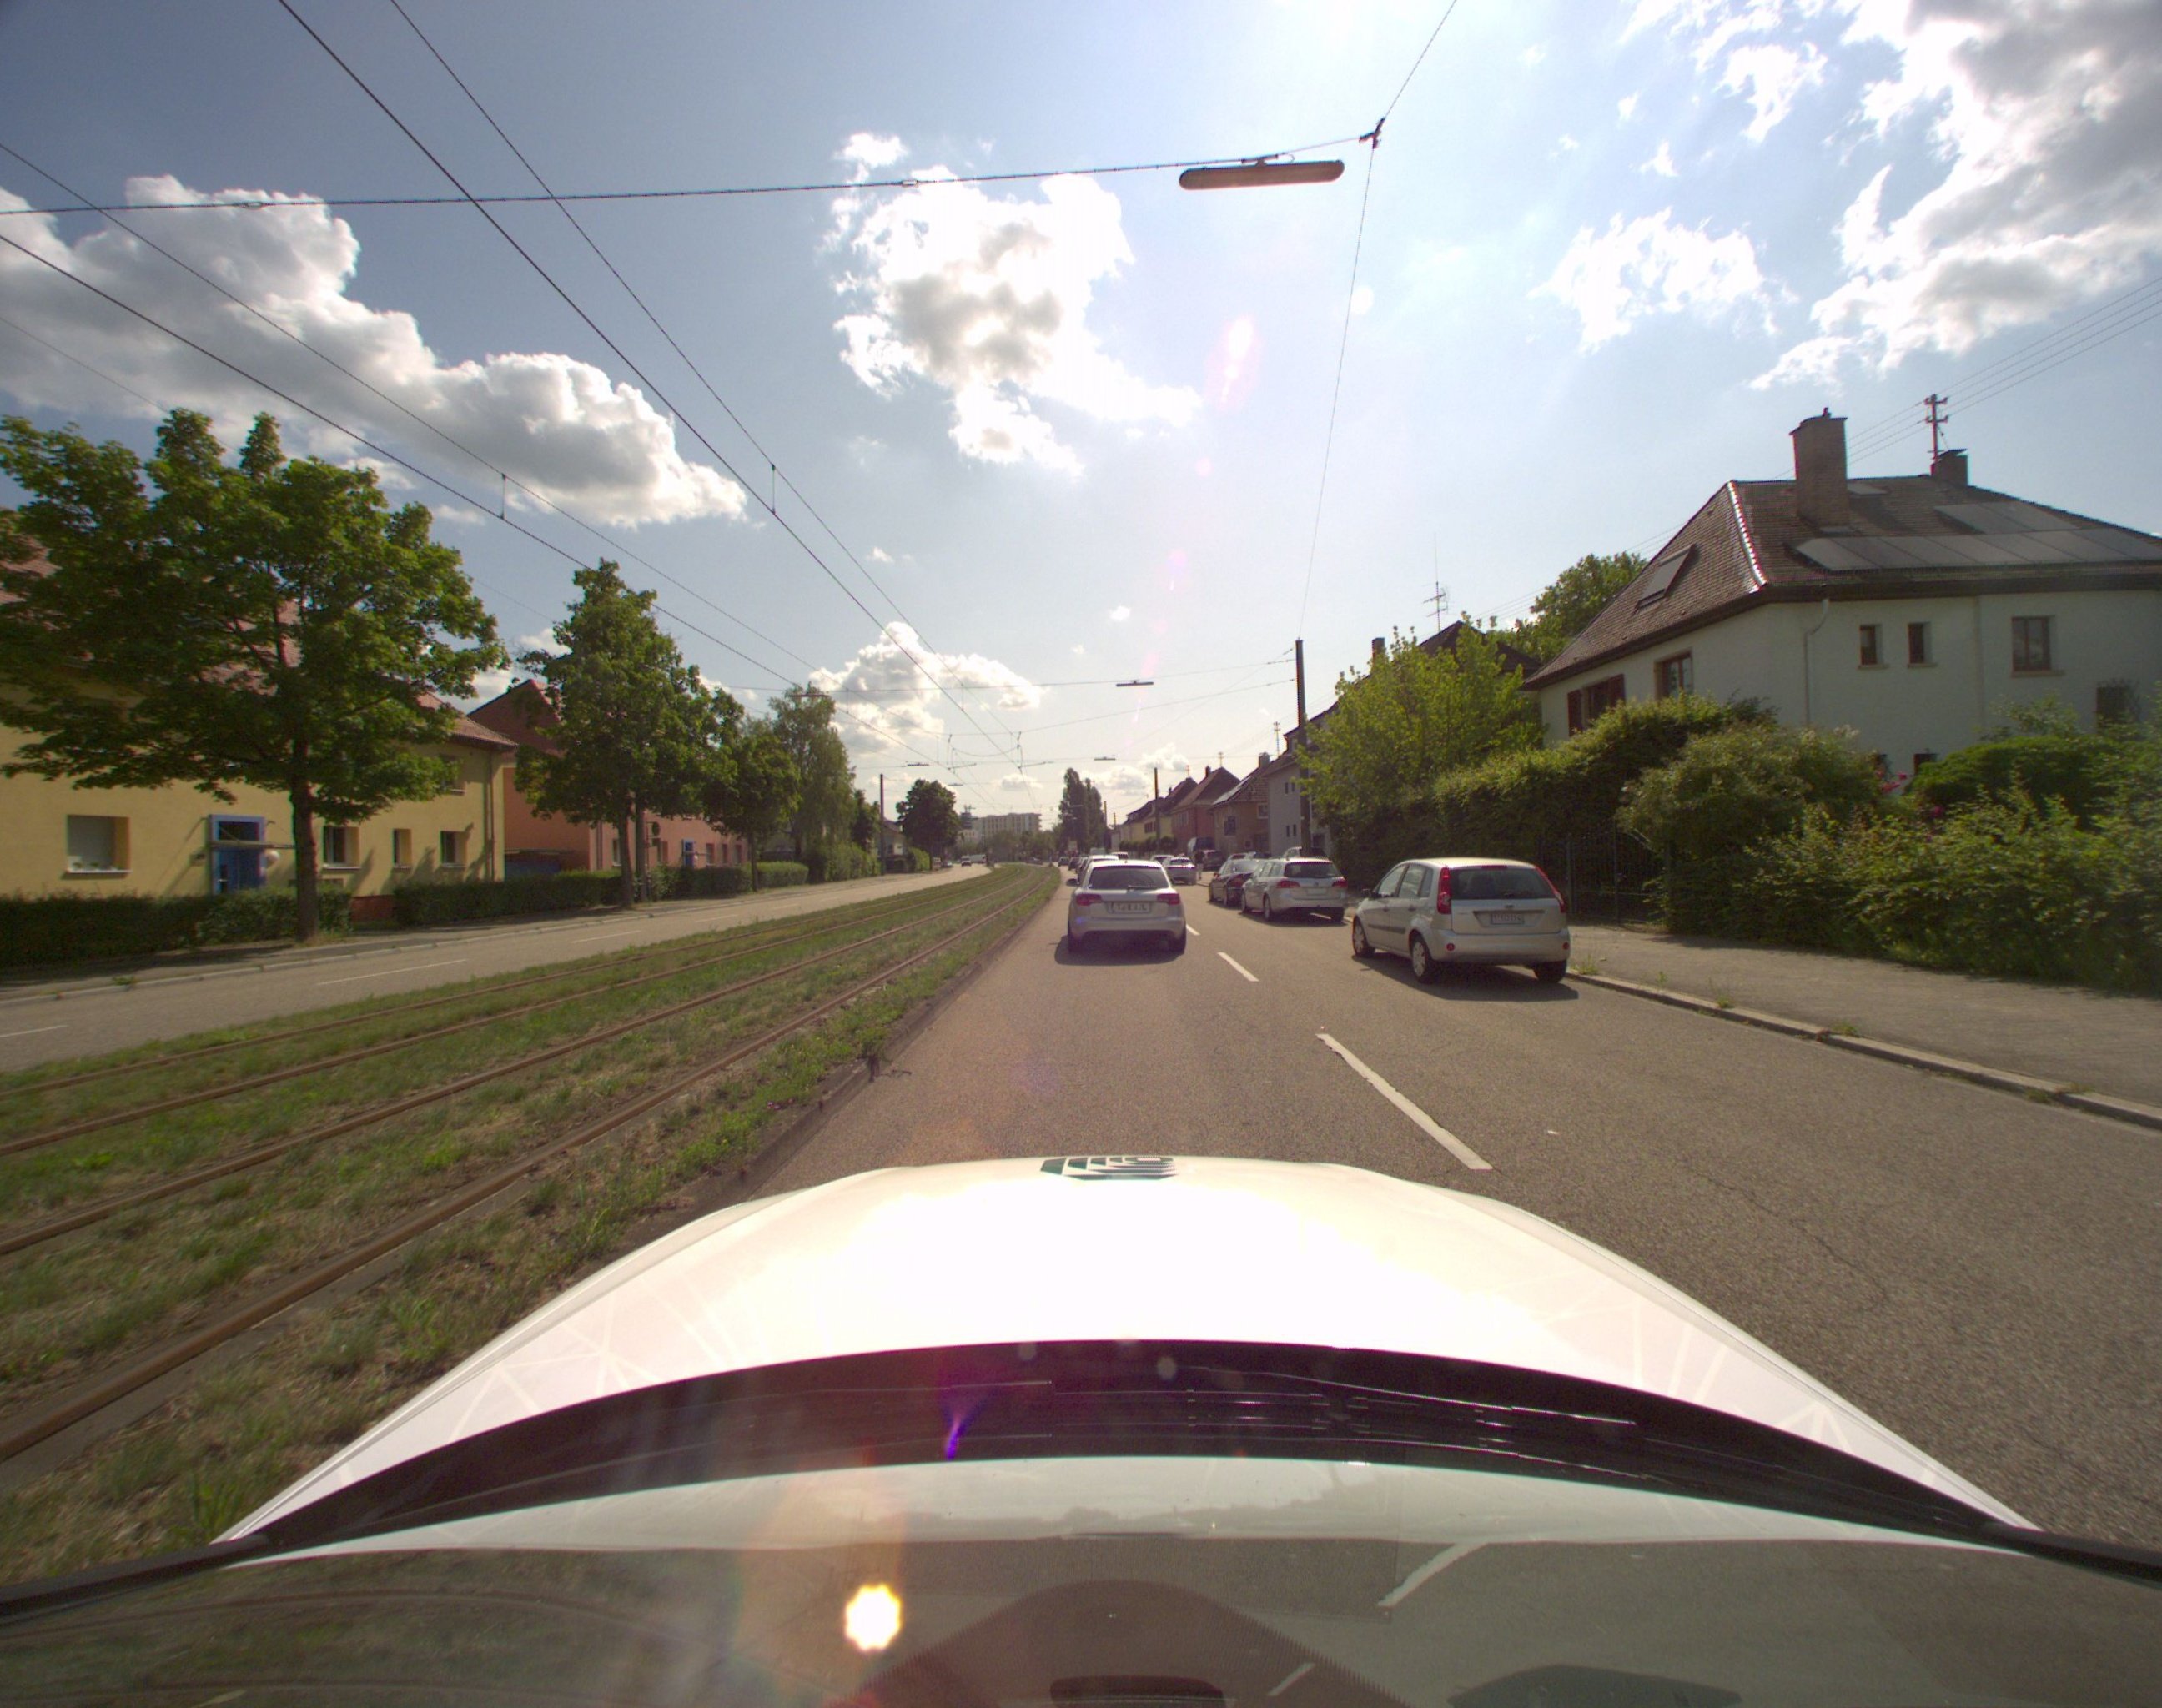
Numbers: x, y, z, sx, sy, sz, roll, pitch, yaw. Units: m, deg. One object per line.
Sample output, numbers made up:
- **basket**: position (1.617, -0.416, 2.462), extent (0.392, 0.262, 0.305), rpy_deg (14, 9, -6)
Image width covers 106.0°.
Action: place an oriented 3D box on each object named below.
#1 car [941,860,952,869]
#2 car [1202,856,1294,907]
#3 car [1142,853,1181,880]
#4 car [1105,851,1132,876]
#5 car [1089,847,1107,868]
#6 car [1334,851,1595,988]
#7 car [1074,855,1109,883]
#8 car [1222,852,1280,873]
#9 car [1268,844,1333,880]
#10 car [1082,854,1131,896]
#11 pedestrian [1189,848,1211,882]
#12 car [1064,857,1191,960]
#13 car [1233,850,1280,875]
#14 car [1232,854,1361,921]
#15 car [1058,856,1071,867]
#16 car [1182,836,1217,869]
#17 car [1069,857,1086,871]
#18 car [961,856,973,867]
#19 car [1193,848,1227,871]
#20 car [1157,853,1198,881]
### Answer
- **car**: position (-27.095, 2.126, 164.403), extent (1.783, 1.584, 3.923), rpy_deg (-1, 0, -5)
- **car**: position (5.143, 0.794, 25.731), extent (1.893, 1.443, 5.057), rpy_deg (0, 0, 0)
- **car**: position (4.999, 0.778, 51.006), extent (1.803, 1.559, 4.248), rpy_deg (0, -1, -3)
- **car**: position (2.740, 0.661, 59.542), extent (1.877, 1.731, 4.097), rpy_deg (-2, 0, 2)
- **car**: position (2.059, 0.440, 100.172), extent (2.035, 2.557, 5.228), rpy_deg (-1, 0, -1)
- **car**: position (4.823, 0.743, 10.958), extent (1.730, 1.489, 4.096), rpy_deg (0, -1, 2)
- **car**: position (0.571, 0.822, 45.926), extent (1.879, 1.466, 4.093), rpy_deg (-2, 0, 0)
- **car**: position (12.001, 0.619, 57.596), extent (3.641, 1.380, 1.724), rpy_deg (-1, -1, -4)
- **car**: position (11.193, 0.416, 41.820), extent (1.753, 1.647, 4.763), rpy_deg (-2, -1, -4)
- **car**: position (0.993, 0.801, 33.202), extent (1.782, 1.577, 4.092), rpy_deg (1, 0, -1)
- **pedestrian**: position (7.036, 0.667, 48.330), extent (1.109, 1.946, 1.091), rpy_deg (-1, -1, -1)
- **car**: position (0.736, 0.814, 14.262), extent (1.848, 1.492, 4.536), rpy_deg (-1, 0, 1)
- **car**: position (11.119, 0.533, 51.780), extent (1.793, 1.423, 4.854), rpy_deg (-2, 0, -1)
- **car**: position (5.166, 0.769, 20.295), extent (1.884, 1.455, 5.005), rpy_deg (0, -1, 0)
- **car**: position (-2.394, 1.148, 121.113), extent (1.879, 1.530, 4.093), rpy_deg (0, -1, 0)
- **car**: position (10.684, -0.088, 74.057), extent (2.145, 2.930, 6.240), rpy_deg (0, -1, -1)
- **car**: position (-0.374, 1.063, 88.974), extent (1.879, 1.530, 4.093), rpy_deg (0, -1, 0)
- **car**: position (-25.071, 1.638, 178.941), extent (2.193, 2.372, 5.321), rpy_deg (-3, -1, -6)
- **car**: position (10.672, 0.455, 67.801), extent (1.832, 1.711, 4.859), rpy_deg (-3, 0, -2)
- **car**: position (5.192, 0.689, 44.244), extent (1.808, 1.454, 4.644), rpy_deg (0, -1, 2)
